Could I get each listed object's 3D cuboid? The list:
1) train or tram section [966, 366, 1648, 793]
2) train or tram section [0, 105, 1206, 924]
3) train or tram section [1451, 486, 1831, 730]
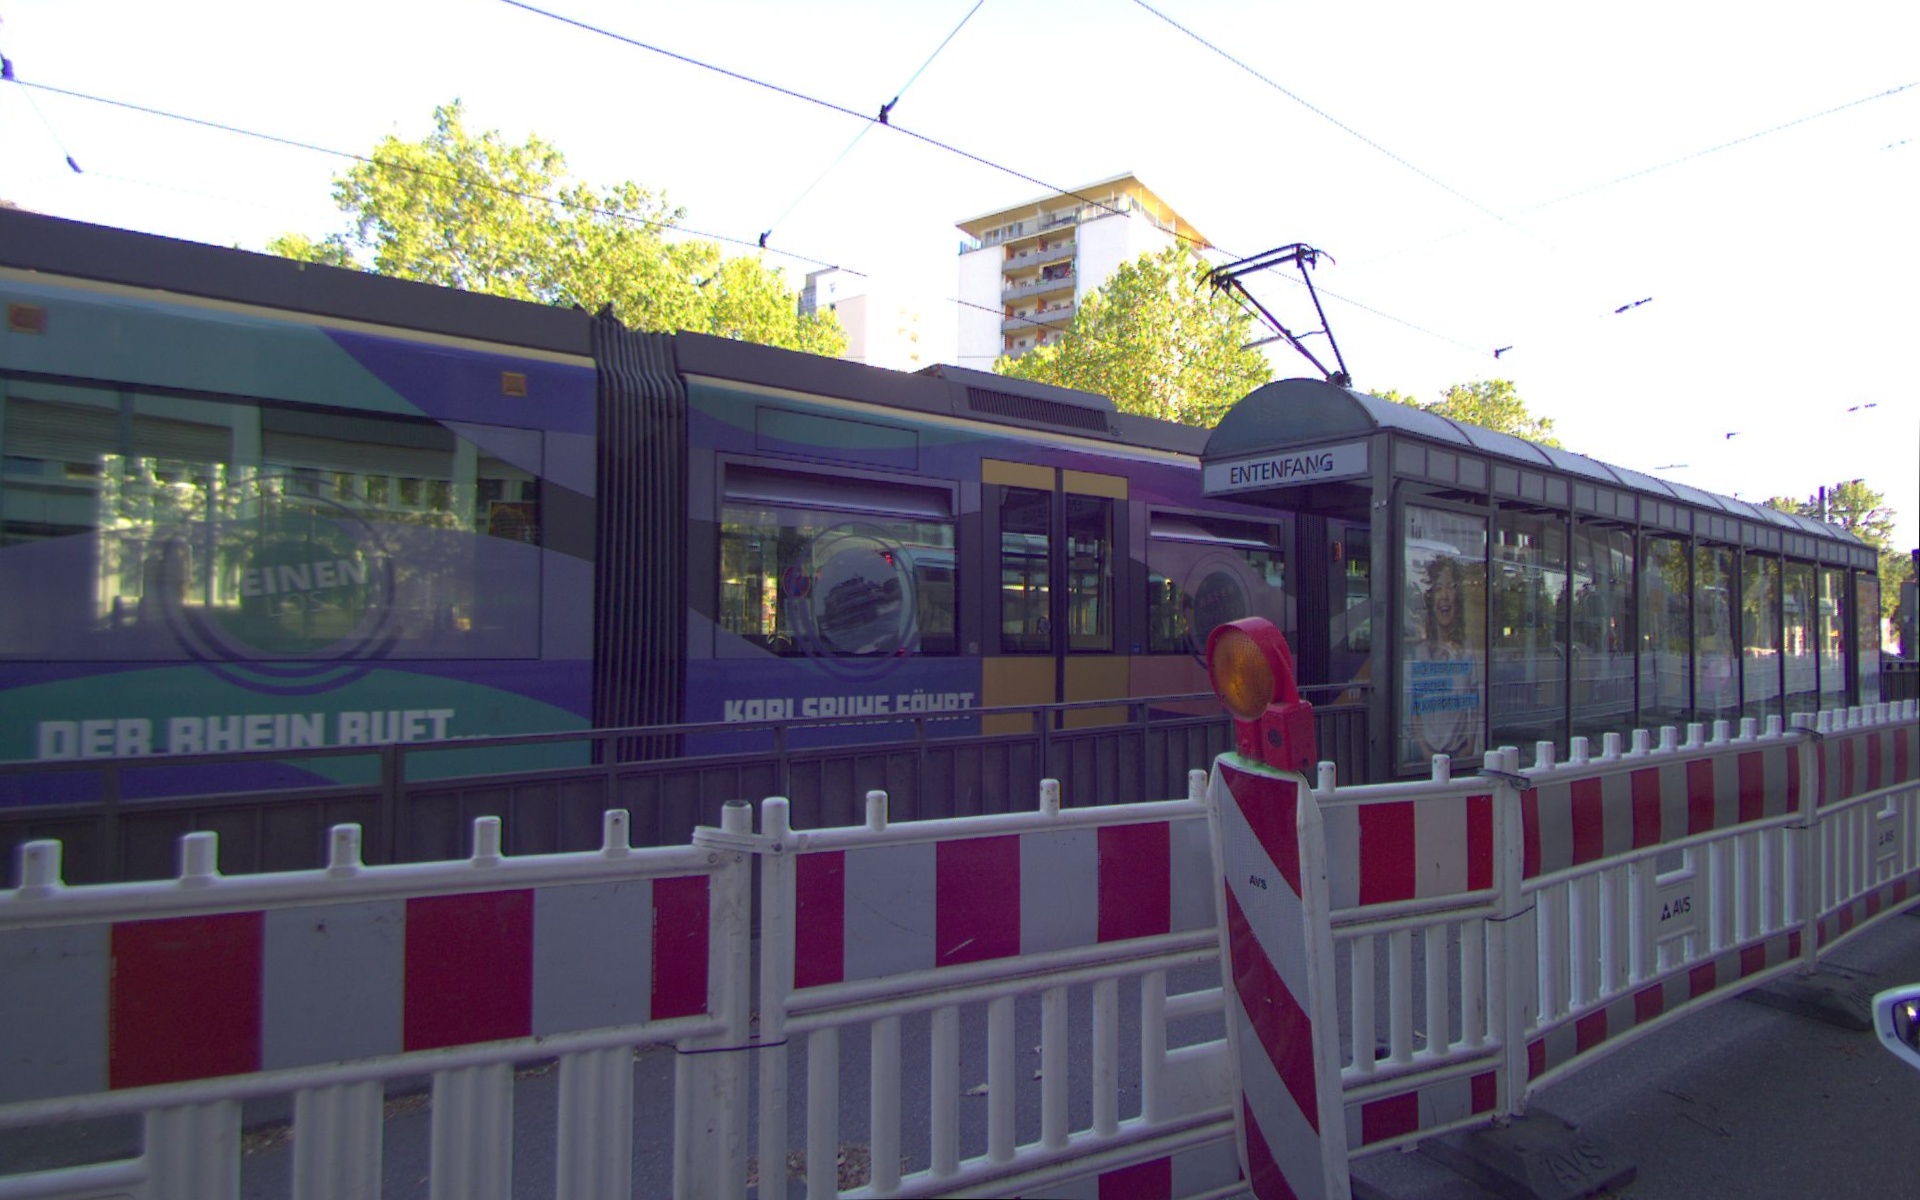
[{"bbox_3d":[4.993,-0.023,12.523,10.242,3.533,2.815,2,-1,-37],"label":"train or tram section"},{"bbox_3d":[-3.102,-0.303,6.659,10.222,3.533,2.856,2,-1,-32],"label":"train or tram section"},{"bbox_3d":[13.094,0.263,18.747,10.244,3.533,2.796,2,-1,-37],"label":"train or tram section"}]
